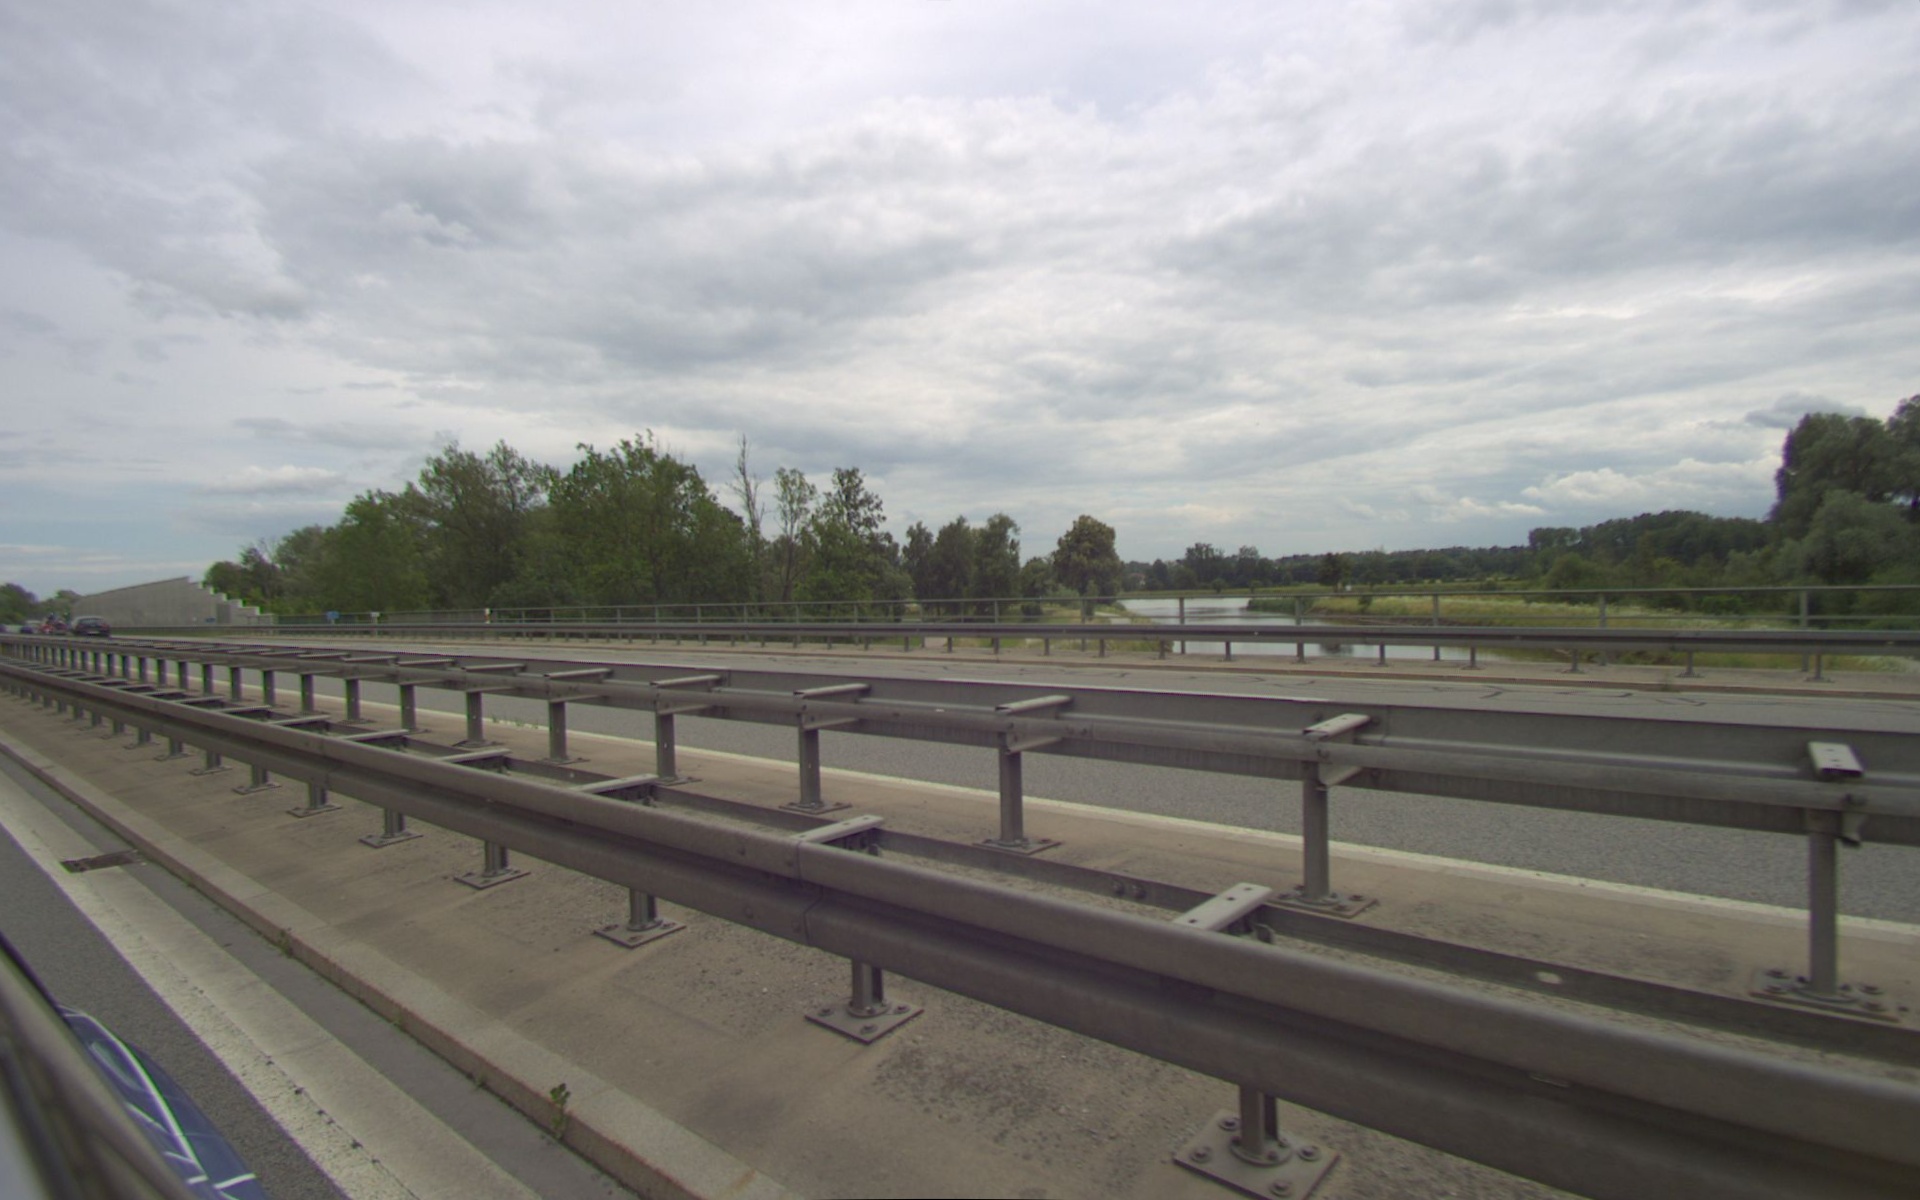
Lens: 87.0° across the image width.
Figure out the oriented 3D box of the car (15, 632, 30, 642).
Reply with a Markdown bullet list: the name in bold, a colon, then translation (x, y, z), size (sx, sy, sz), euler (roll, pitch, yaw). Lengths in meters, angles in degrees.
- **car**: translation (-160.008, 6.296, 172.704), size (1.789, 1.558, 4.522), euler (-1, -1, -41)

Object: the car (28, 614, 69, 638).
- **car**: translation (-72.460, 2.080, 80.394), size (4.943, 1.774, 1.949), euler (-2, -1, 42)

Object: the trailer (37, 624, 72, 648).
- **trailer**: translation (-69.371, 2.779, 77.525), size (3.375, 1.761, 1.630), euler (-2, 0, 42)

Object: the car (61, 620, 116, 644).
- **car**: translation (-52.746, 1.941, 61.209), size (4.709, 1.414, 1.949), euler (-2, -2, 42)
